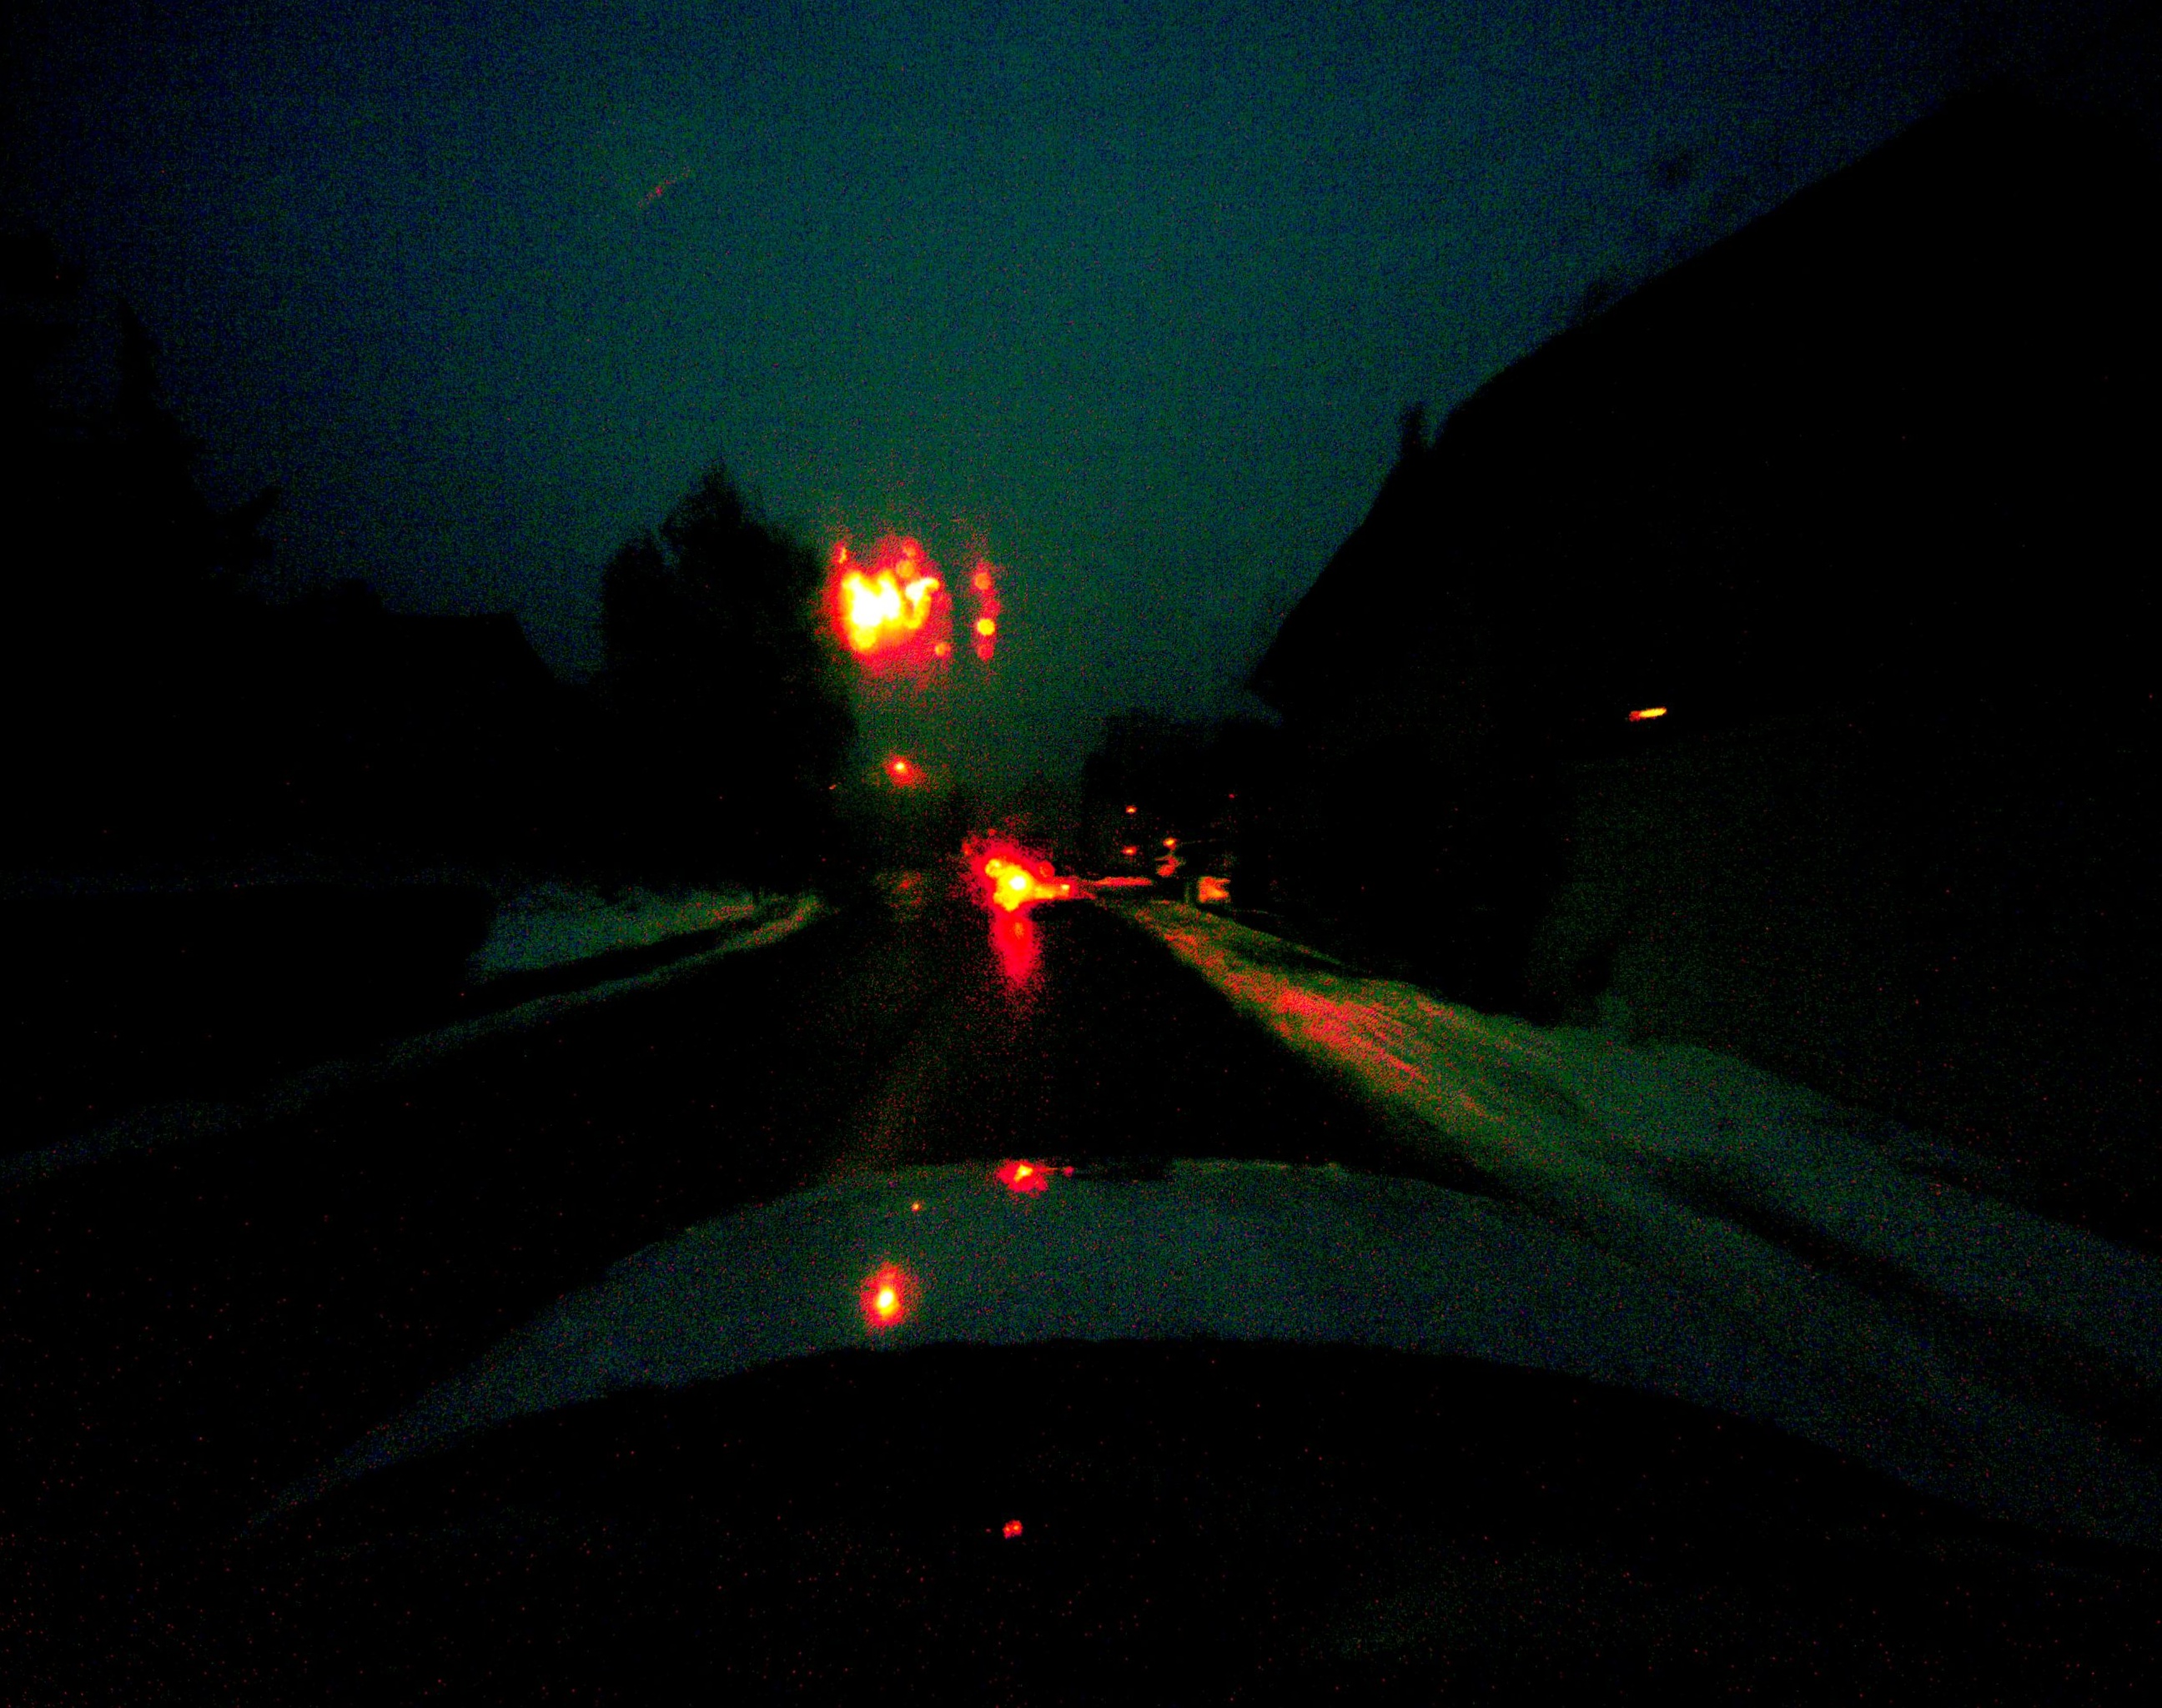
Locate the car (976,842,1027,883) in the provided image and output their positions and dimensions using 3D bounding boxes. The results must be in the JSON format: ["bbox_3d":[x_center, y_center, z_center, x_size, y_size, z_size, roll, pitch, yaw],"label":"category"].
[{"bbox_3d":[-3.474,0.368,36.140,1.988,1.737,3.875,-1,0,-2],"label":"car"}]

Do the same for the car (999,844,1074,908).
[{"bbox_3d":[-1.186,0.564,22.619,1.892,1.609,3.997,-1,0,-2],"label":"car"}]

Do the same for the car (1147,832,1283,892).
[{"bbox_3d":[4.333,0.259,26.837,4.191,1.858,1.912,-1,-1,0],"label":"car"}]
